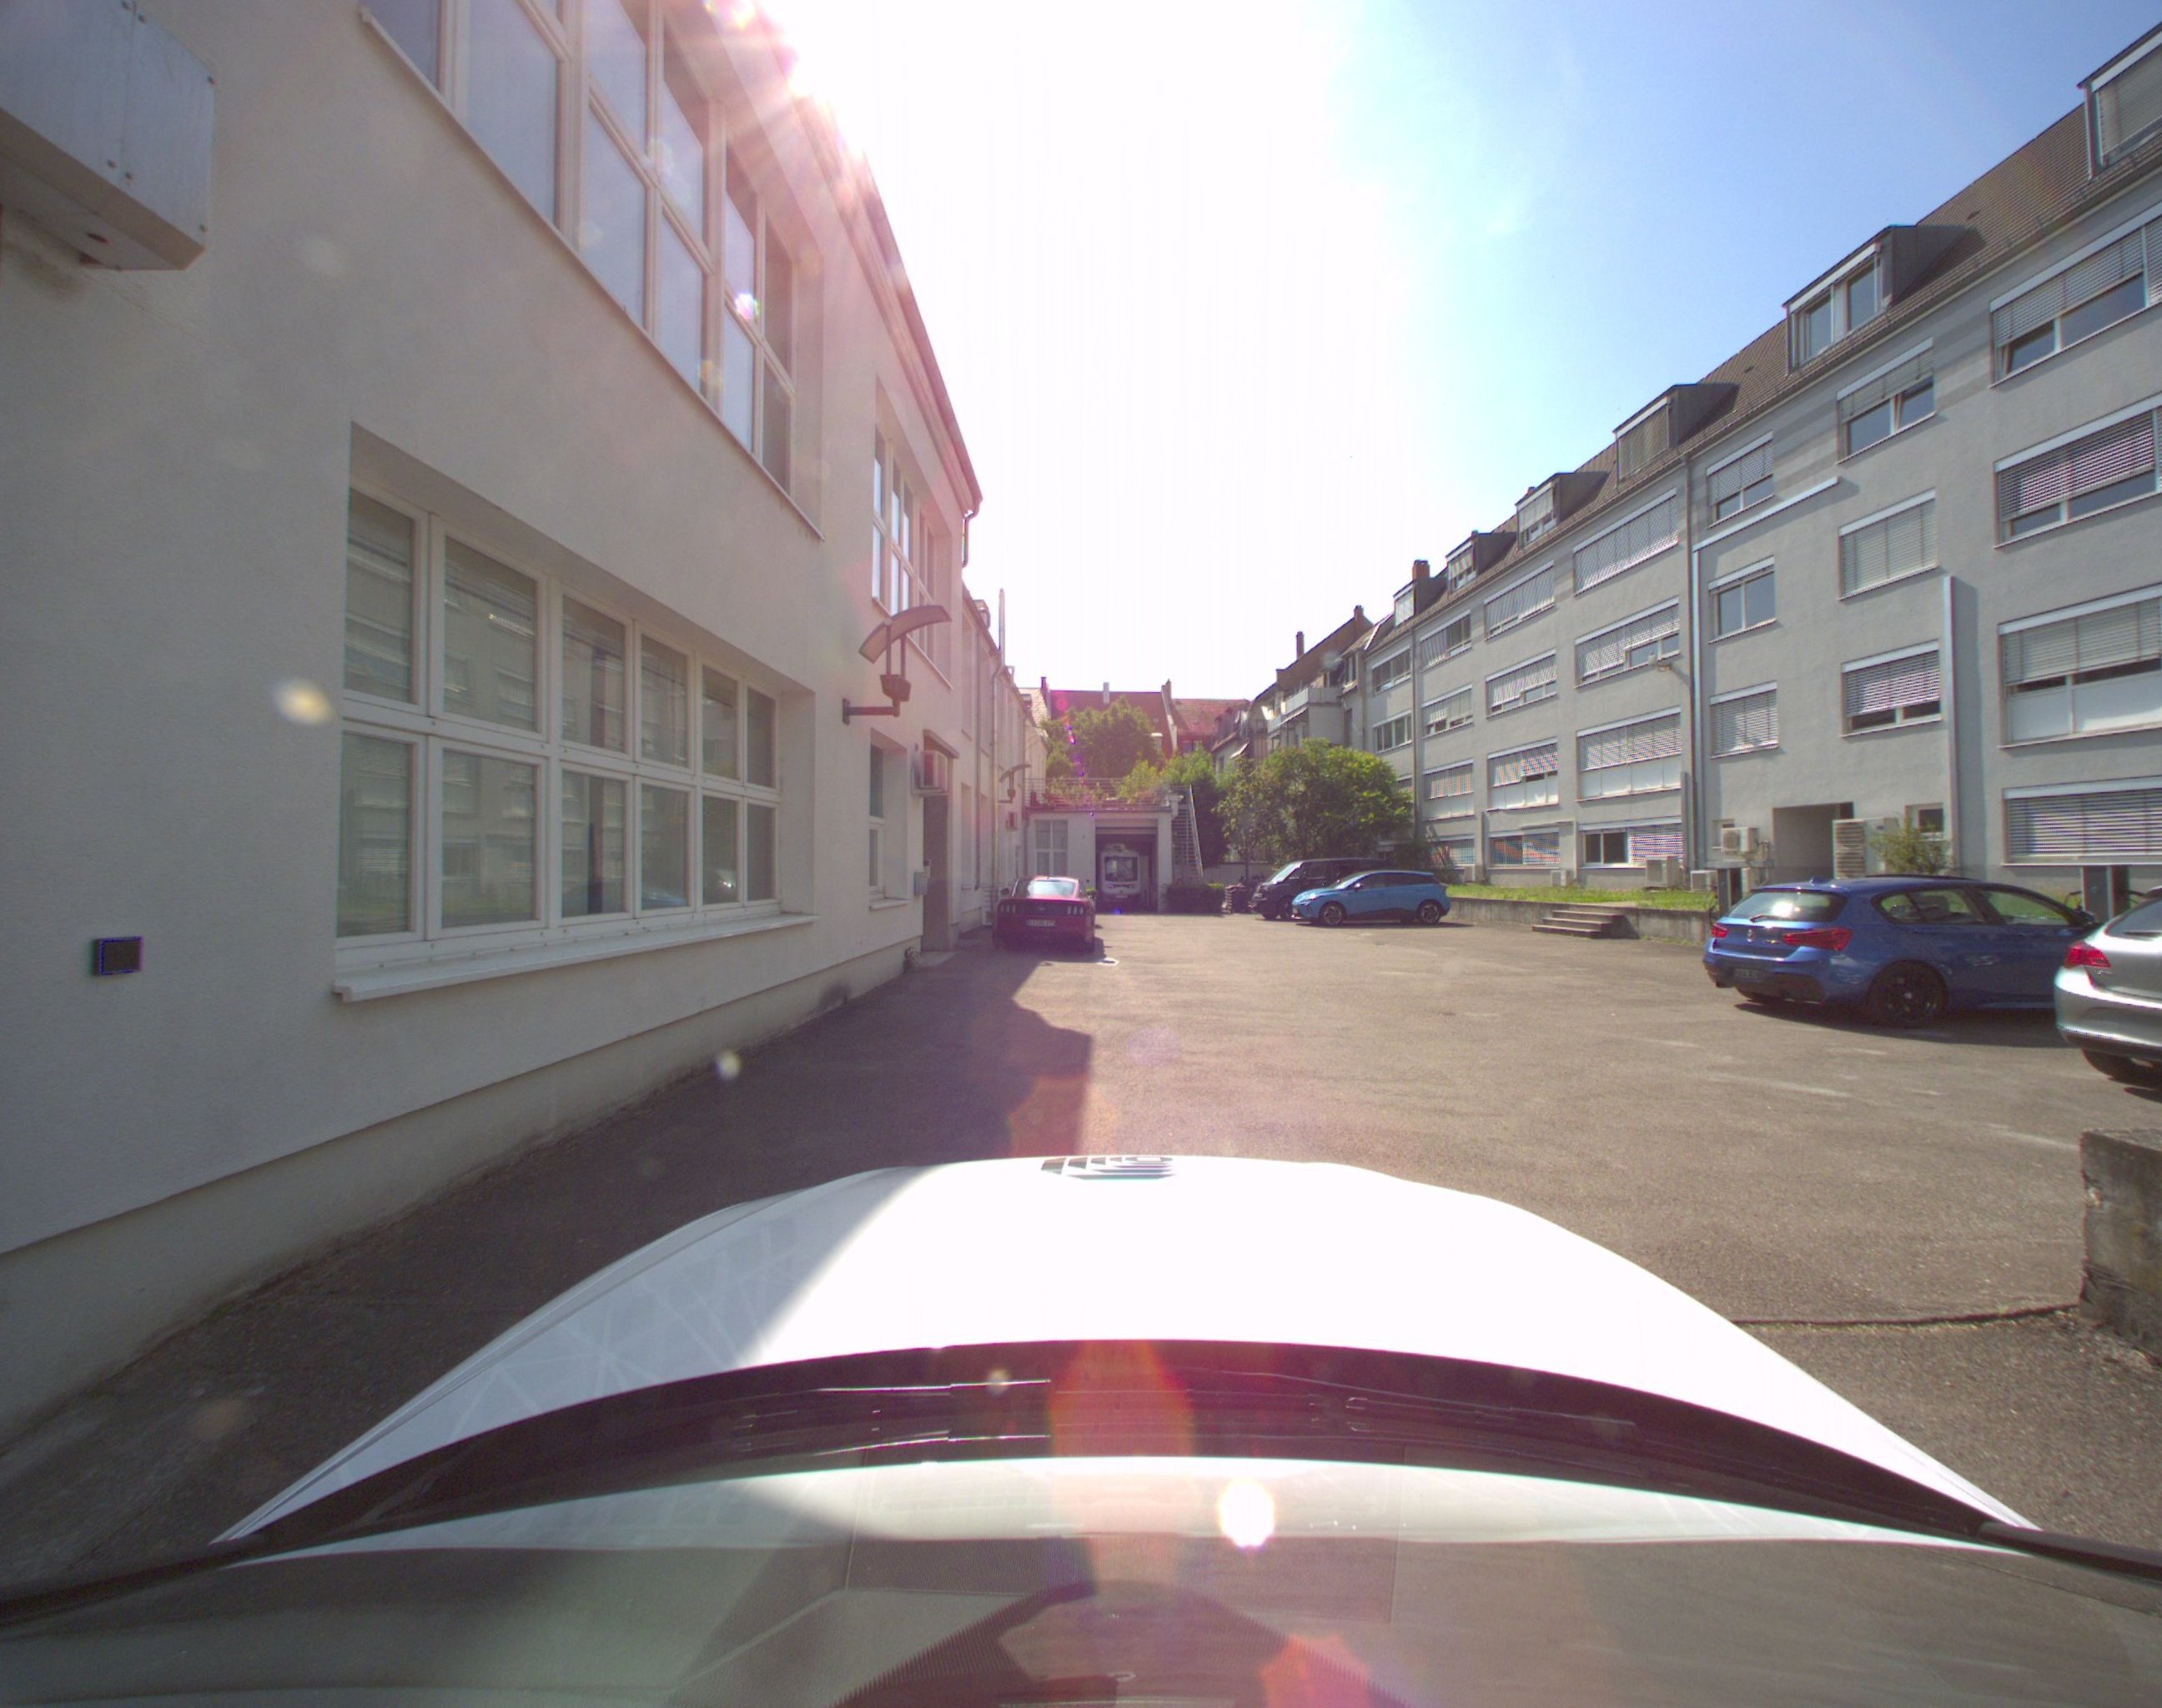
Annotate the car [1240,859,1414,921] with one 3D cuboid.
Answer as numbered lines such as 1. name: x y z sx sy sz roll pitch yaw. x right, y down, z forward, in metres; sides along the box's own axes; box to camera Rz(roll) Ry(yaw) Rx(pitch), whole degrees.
1. car: 7.879 1.102 26.303 4.953 1.768 2.089 -1 -1 -11

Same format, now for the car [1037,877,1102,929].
1. car: -0.247 1.346 23.167 1.608 1.296 3.760 -1 -1 2

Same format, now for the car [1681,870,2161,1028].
1. car: 8.836 0.902 8.431 3.972 1.394 1.689 -1 -1 1

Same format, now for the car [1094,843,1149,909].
1. car: 1.768 0.978 36.045 2.166 2.607 6.737 -1 -2 2

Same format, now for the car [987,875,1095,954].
1. car: -0.660 1.108 16.259 1.845 1.320 4.000 1 -1 1

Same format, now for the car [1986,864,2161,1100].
1. car: 8.583 0.754 5.042 3.975 1.427 1.811 -1 -1 -1

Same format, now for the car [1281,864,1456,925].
1. car: 8.043 1.114 23.043 4.217 1.532 1.999 -1 -1 -2
